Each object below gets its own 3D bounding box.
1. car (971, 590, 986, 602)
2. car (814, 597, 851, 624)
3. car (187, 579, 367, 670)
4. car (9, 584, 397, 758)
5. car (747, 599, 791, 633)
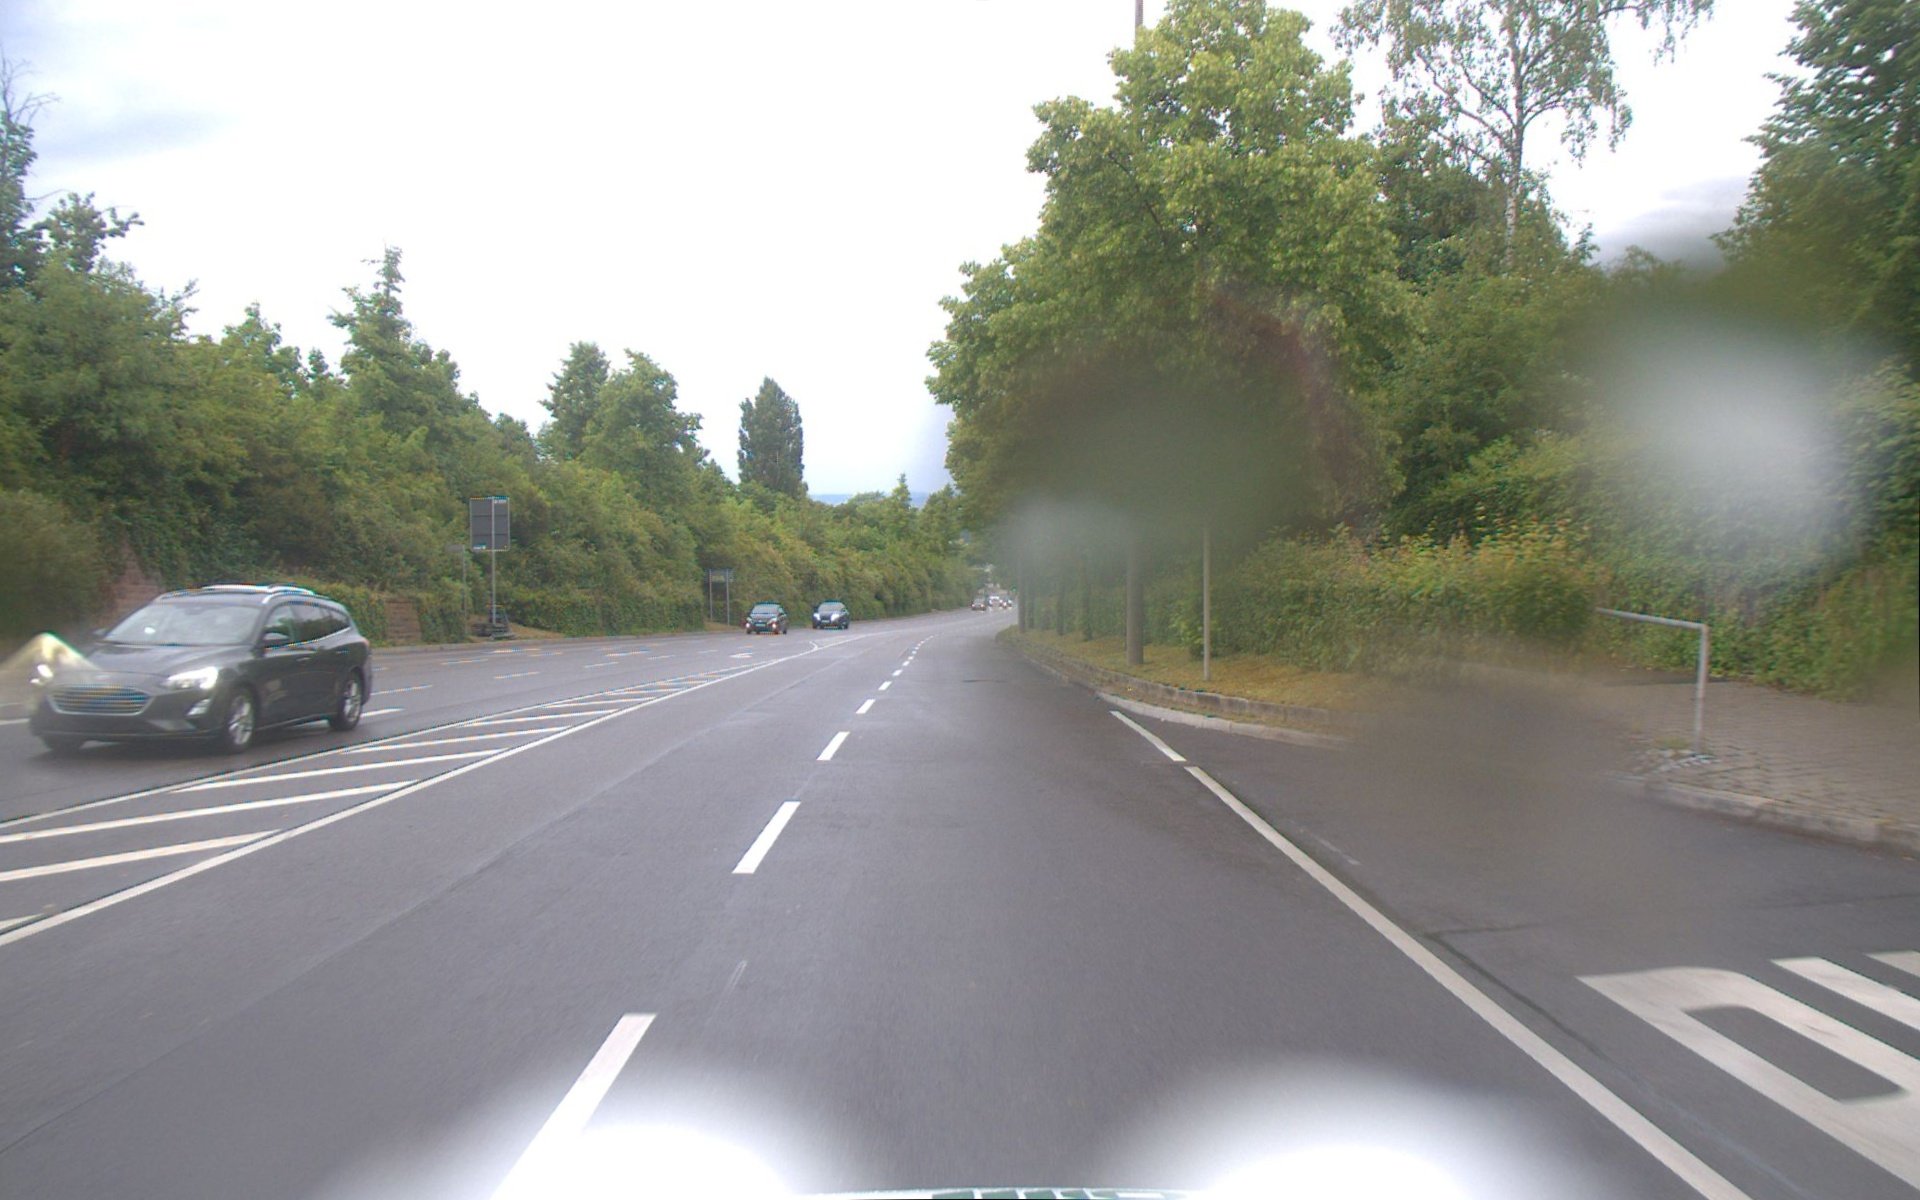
[{"bbox_3d":[2.431,-0.535,216.856,1.825,1.490,3.894,2,0,2],"label":"car"},{"bbox_3d":[-8.008,0.657,104.144,1.825,1.617,3.894,2,0,2],"label":"car"},{"bbox_3d":[-12.972,0.423,31.687,1.688,1.619,4.001,0,0,2],"label":"car"},{"bbox_3d":[-7.356,0.596,16.670,1.741,1.497,4.645,0,1,0],"label":"car"},{"bbox_3d":[-9.583,0.797,83.234,1.689,1.593,3.892,2,0,0],"label":"car"}]
